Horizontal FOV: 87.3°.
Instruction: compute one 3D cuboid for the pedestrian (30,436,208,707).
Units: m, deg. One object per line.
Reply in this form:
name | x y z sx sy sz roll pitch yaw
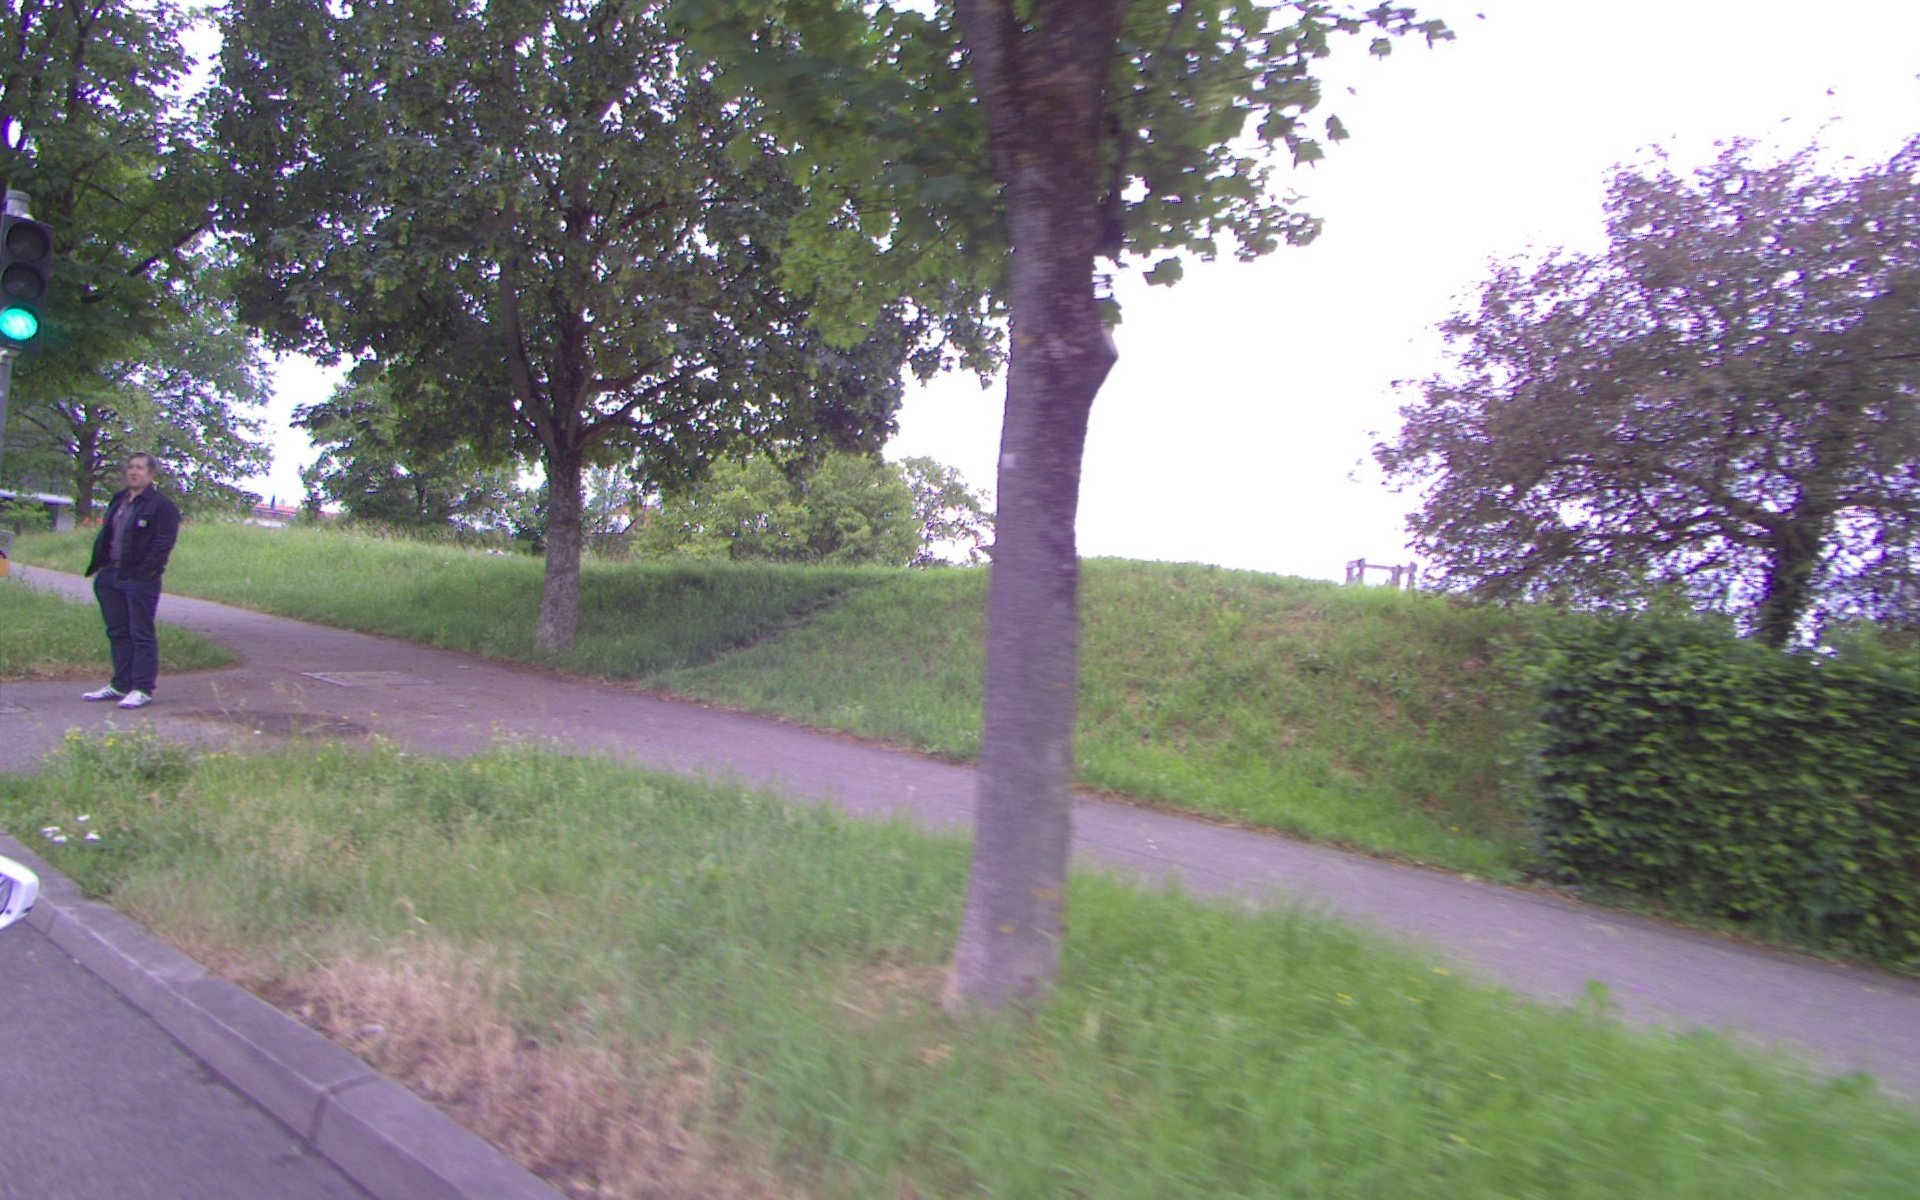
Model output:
pedestrian | -6.221 -0.196 7.458 0.661 1.878 0.644 8 1 26
